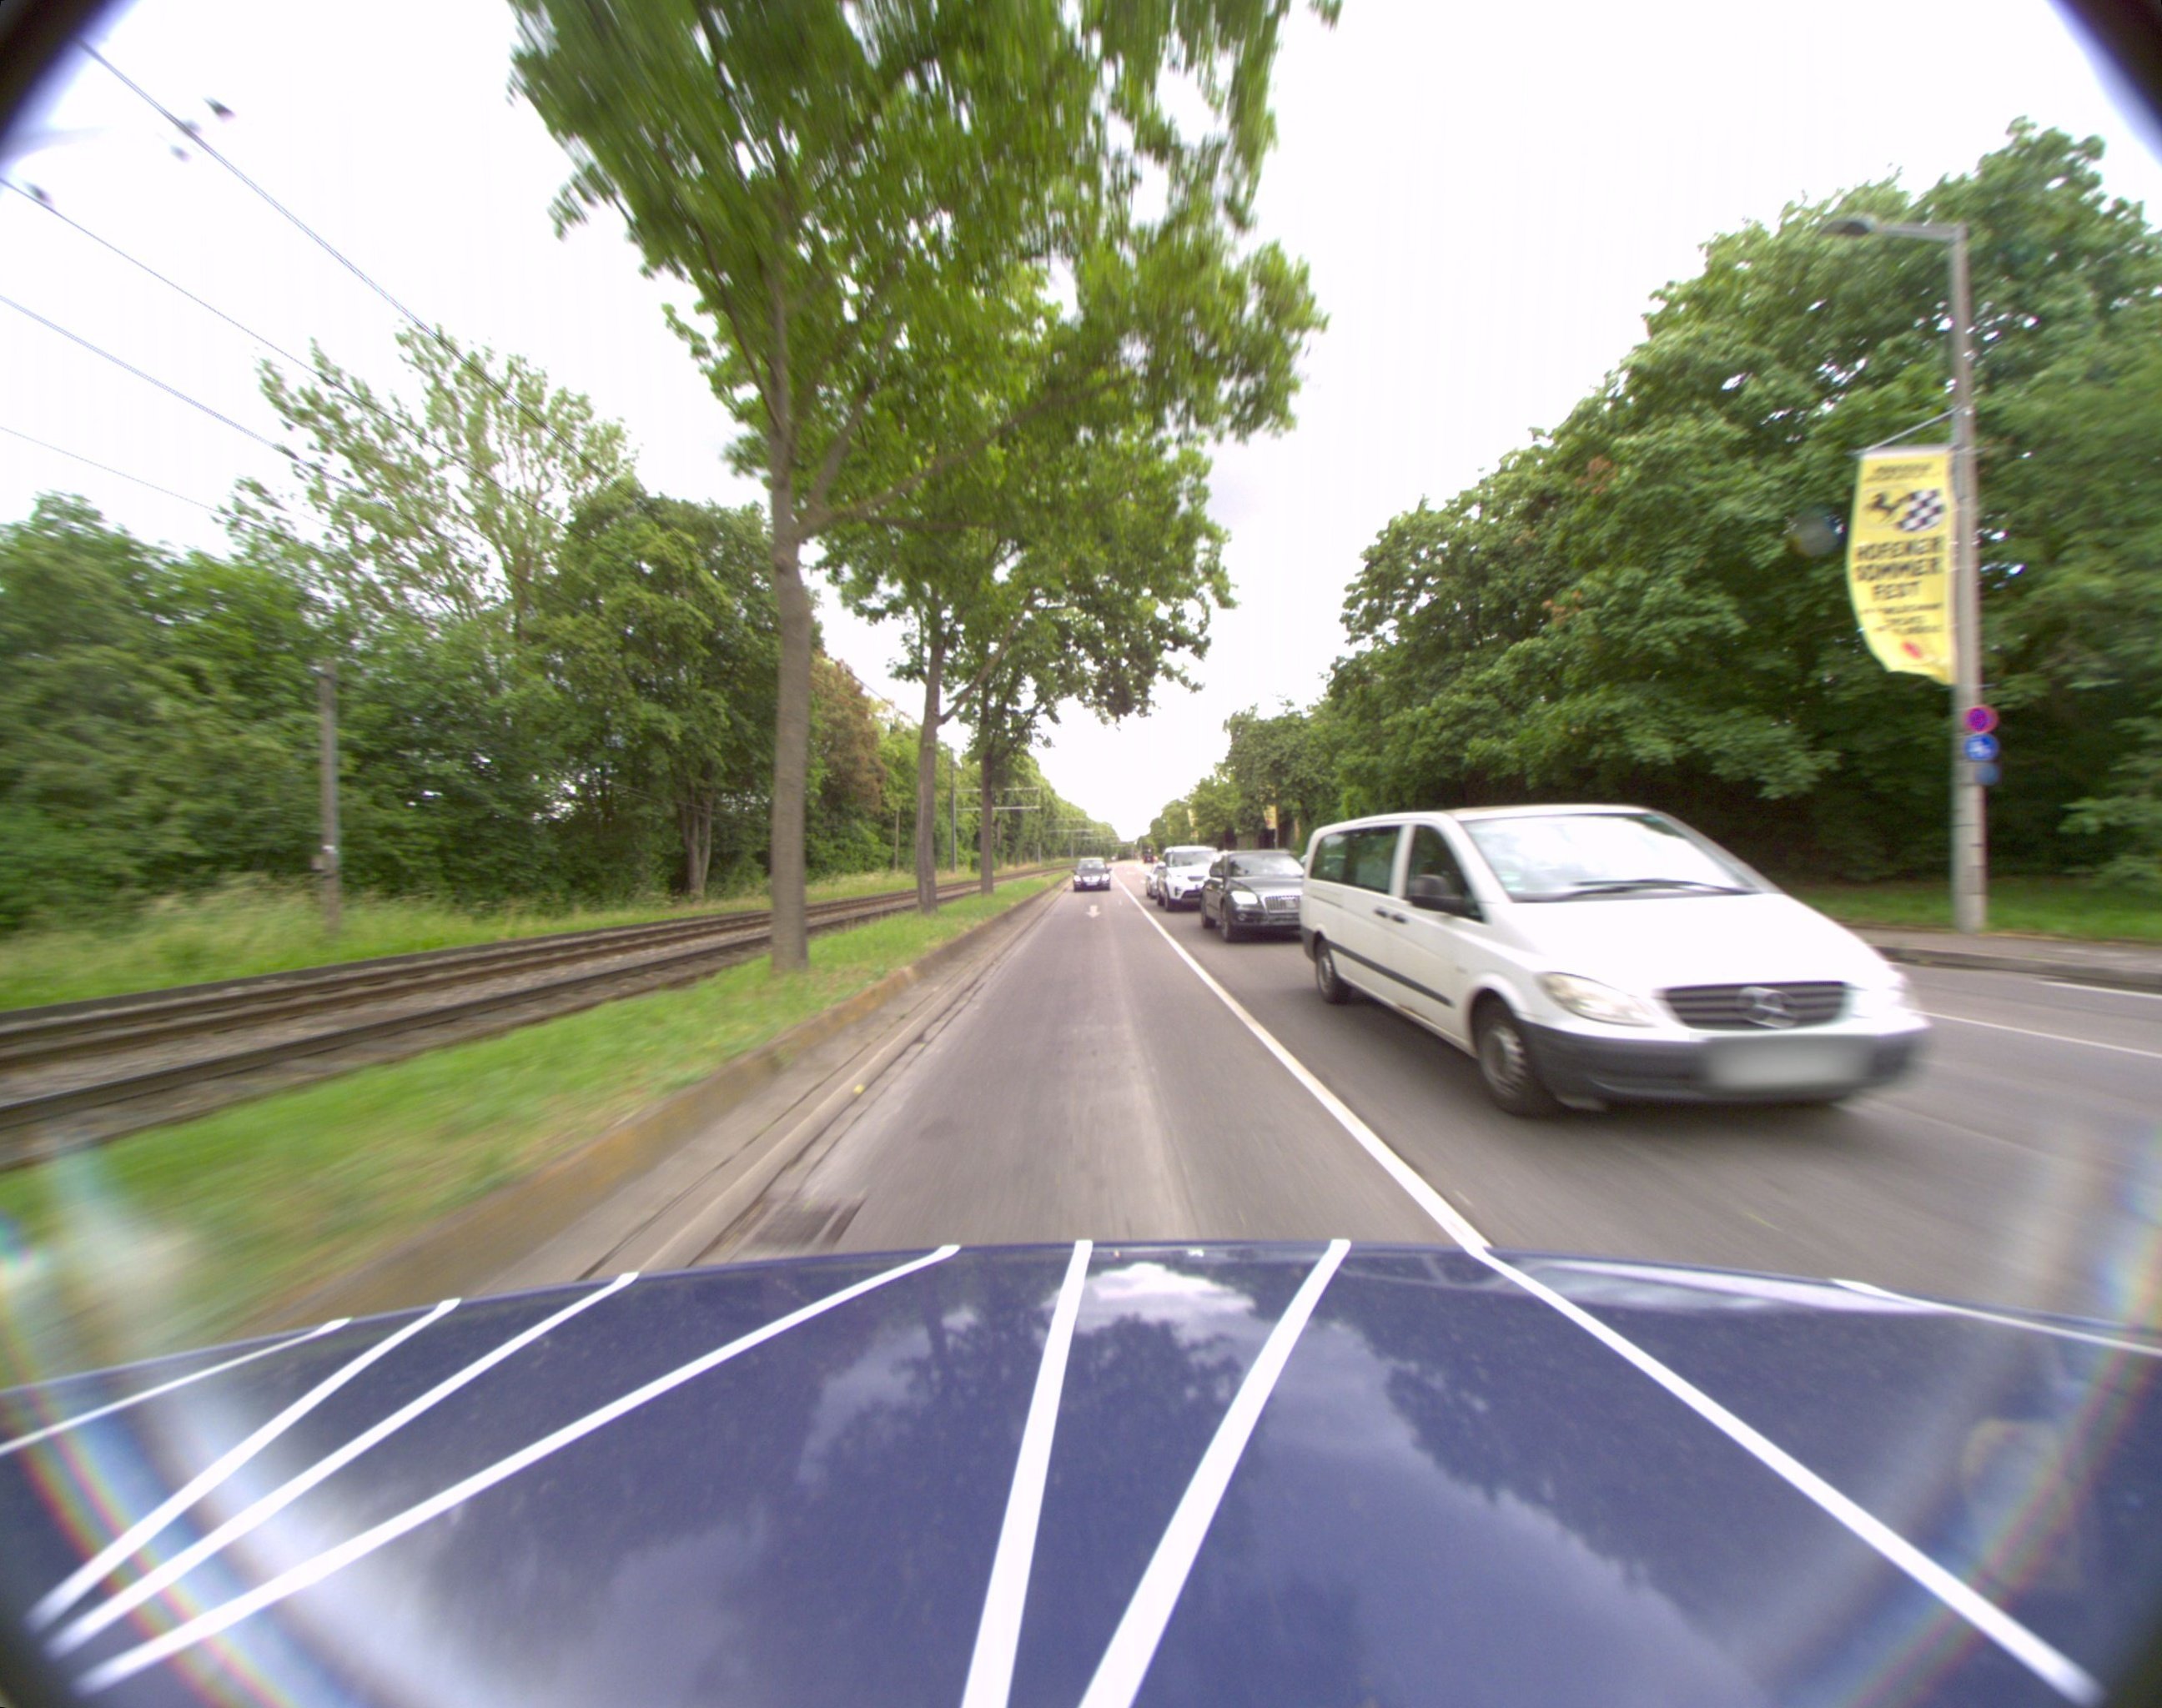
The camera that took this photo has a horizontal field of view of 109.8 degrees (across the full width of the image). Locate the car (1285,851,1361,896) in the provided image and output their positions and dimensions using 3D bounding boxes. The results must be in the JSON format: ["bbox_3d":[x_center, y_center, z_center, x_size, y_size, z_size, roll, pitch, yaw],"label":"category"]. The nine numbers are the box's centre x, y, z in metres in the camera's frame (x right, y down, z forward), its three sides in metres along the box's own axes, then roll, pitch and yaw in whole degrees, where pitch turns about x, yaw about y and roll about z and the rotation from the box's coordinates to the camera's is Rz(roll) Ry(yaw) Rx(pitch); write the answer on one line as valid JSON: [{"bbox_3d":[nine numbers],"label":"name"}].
[{"bbox_3d":[9.105,0.692,28.909,1.743,1.530,3.910,-3,0,2],"label":"car"}]

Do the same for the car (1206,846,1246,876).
[{"bbox_3d":[9.480,0.436,49.970,1.796,1.821,4.409,0,0,1],"label":"car"}]

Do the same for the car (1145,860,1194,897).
[{"bbox_3d":[3.352,0.905,29.427,1.558,1.259,3.822,-2,1,2],"label":"car"}]

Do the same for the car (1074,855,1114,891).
[{"bbox_3d":[0.694,0.897,37.616,1.807,1.520,3.929,-3,1,3],"label":"car"}]

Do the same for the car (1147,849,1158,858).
[{"bbox_3d":[13.887,-0.110,148.064,1.808,1.893,4.689,0,0,1],"label":"car"}]

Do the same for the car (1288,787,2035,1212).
[{"bbox_3d":[3.270,0.645,5.986,1.911,1.832,5.282,-2,0,1],"label":"car"}]

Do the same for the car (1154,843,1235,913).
[{"bbox_3d":[3.272,0.628,22.725,1.807,1.784,4.503,-3,1,2],"label":"car"}]

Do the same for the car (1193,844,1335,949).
[{"bbox_3d":[3.327,0.713,14.664,1.755,1.708,4.335,-1,0,1],"label":"car"}]
